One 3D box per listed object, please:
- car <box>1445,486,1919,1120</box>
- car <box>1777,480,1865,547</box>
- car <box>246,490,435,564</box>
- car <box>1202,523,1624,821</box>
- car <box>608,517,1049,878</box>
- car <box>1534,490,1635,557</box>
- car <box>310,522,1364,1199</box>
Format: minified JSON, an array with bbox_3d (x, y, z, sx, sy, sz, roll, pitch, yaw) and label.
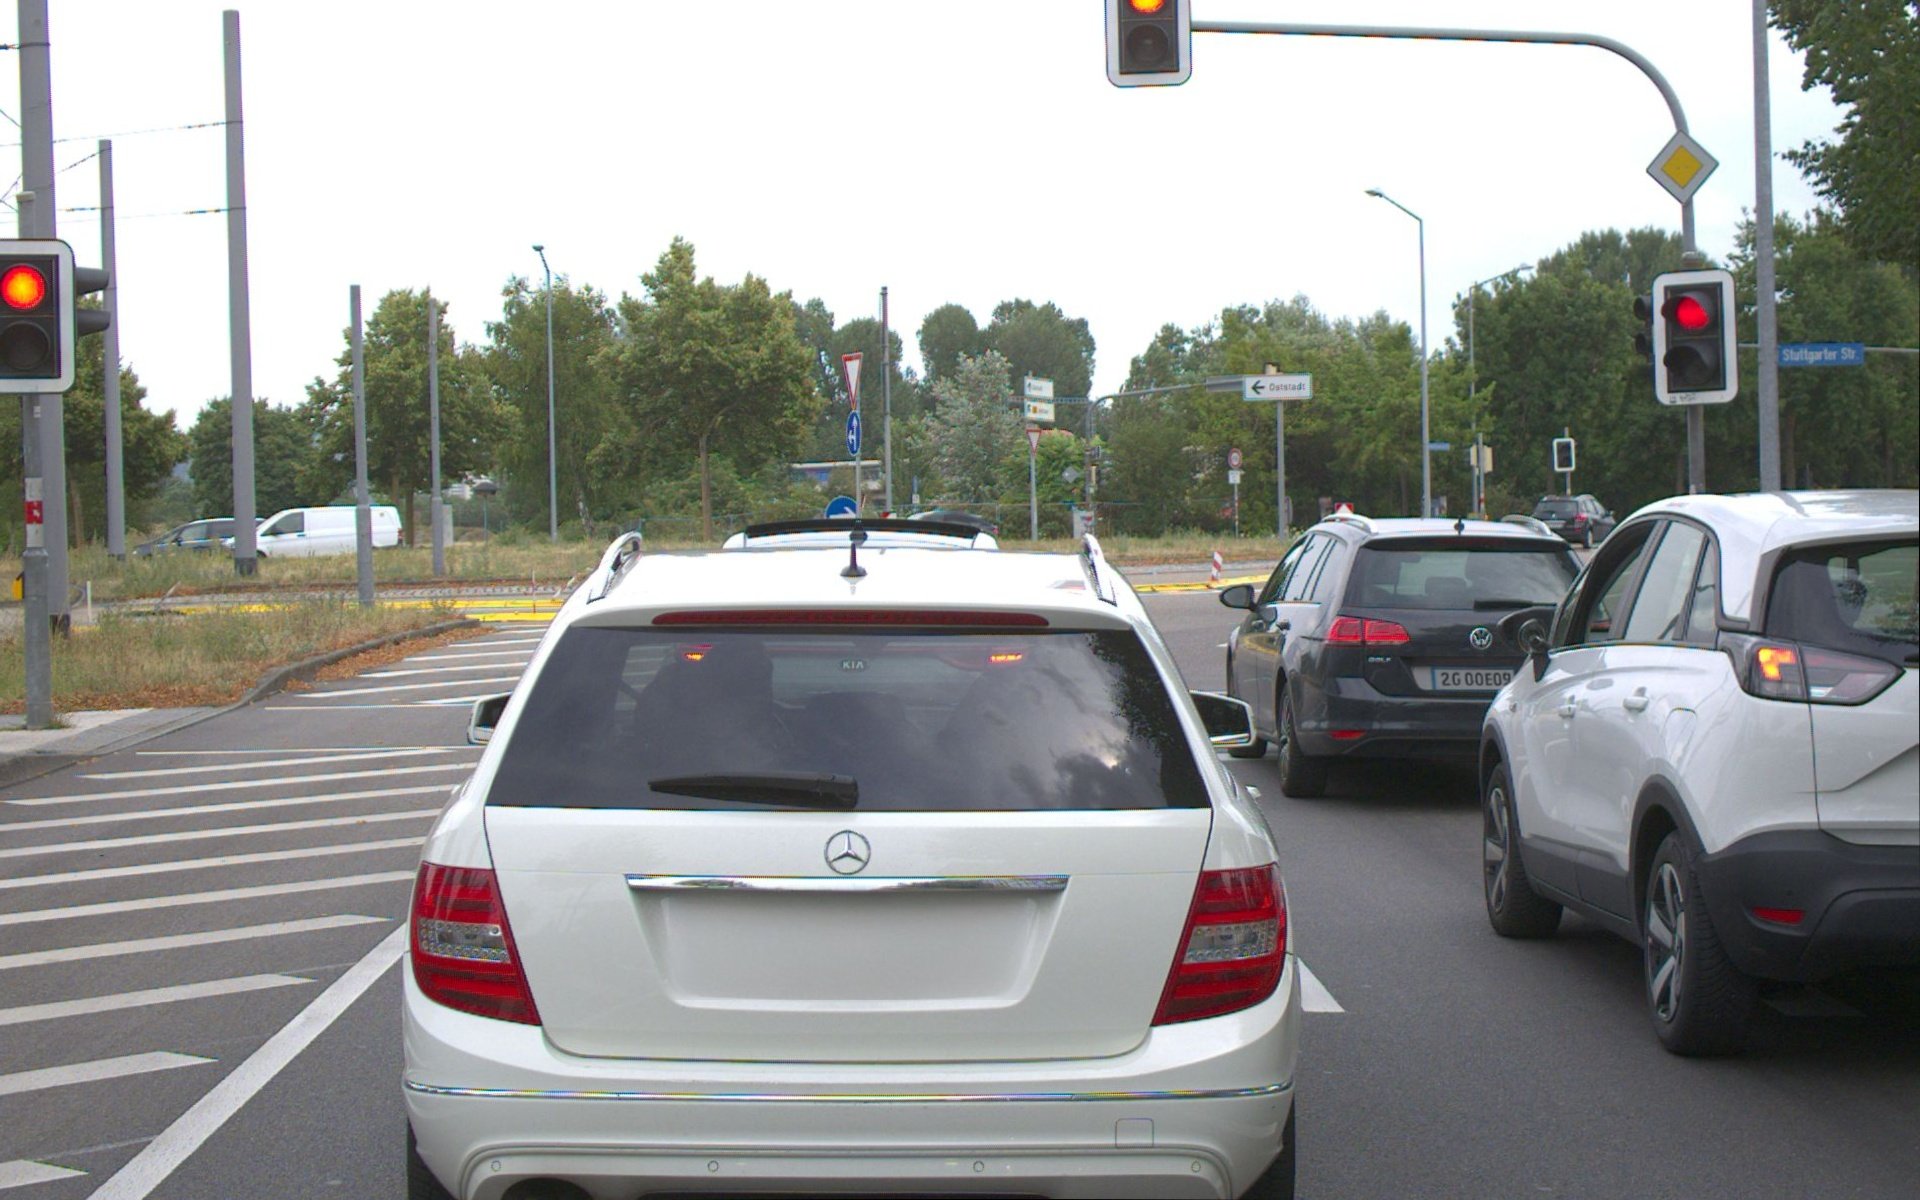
[{"bbox_3d":[2.719,0.462,10.795,1.787,1.619,3.911,-1,1,0],"label":"car"},{"bbox_3d":[21.928,-2.221,87.657,1.784,1.630,4.401,0,2,9],"label":"car"},{"bbox_3d":[-17.516,-2.071,97.188,4.982,2.006,2.001,-1,2,-18],"label":"car"},{"bbox_3d":[2.362,0.310,18.829,1.624,1.443,3.911,0,1,-2],"label":"car"},{"bbox_3d":[-0.613,0.350,15.839,1.773,1.443,3.911,0,1,-2],"label":"car"},{"bbox_3d":[17.605,-2.136,96.770,1.996,1.784,3.995,2,1,22],"label":"car"},{"bbox_3d":[-0.289,0.559,7.768,1.773,1.443,3.911,0,1,-2],"label":"car"}]
